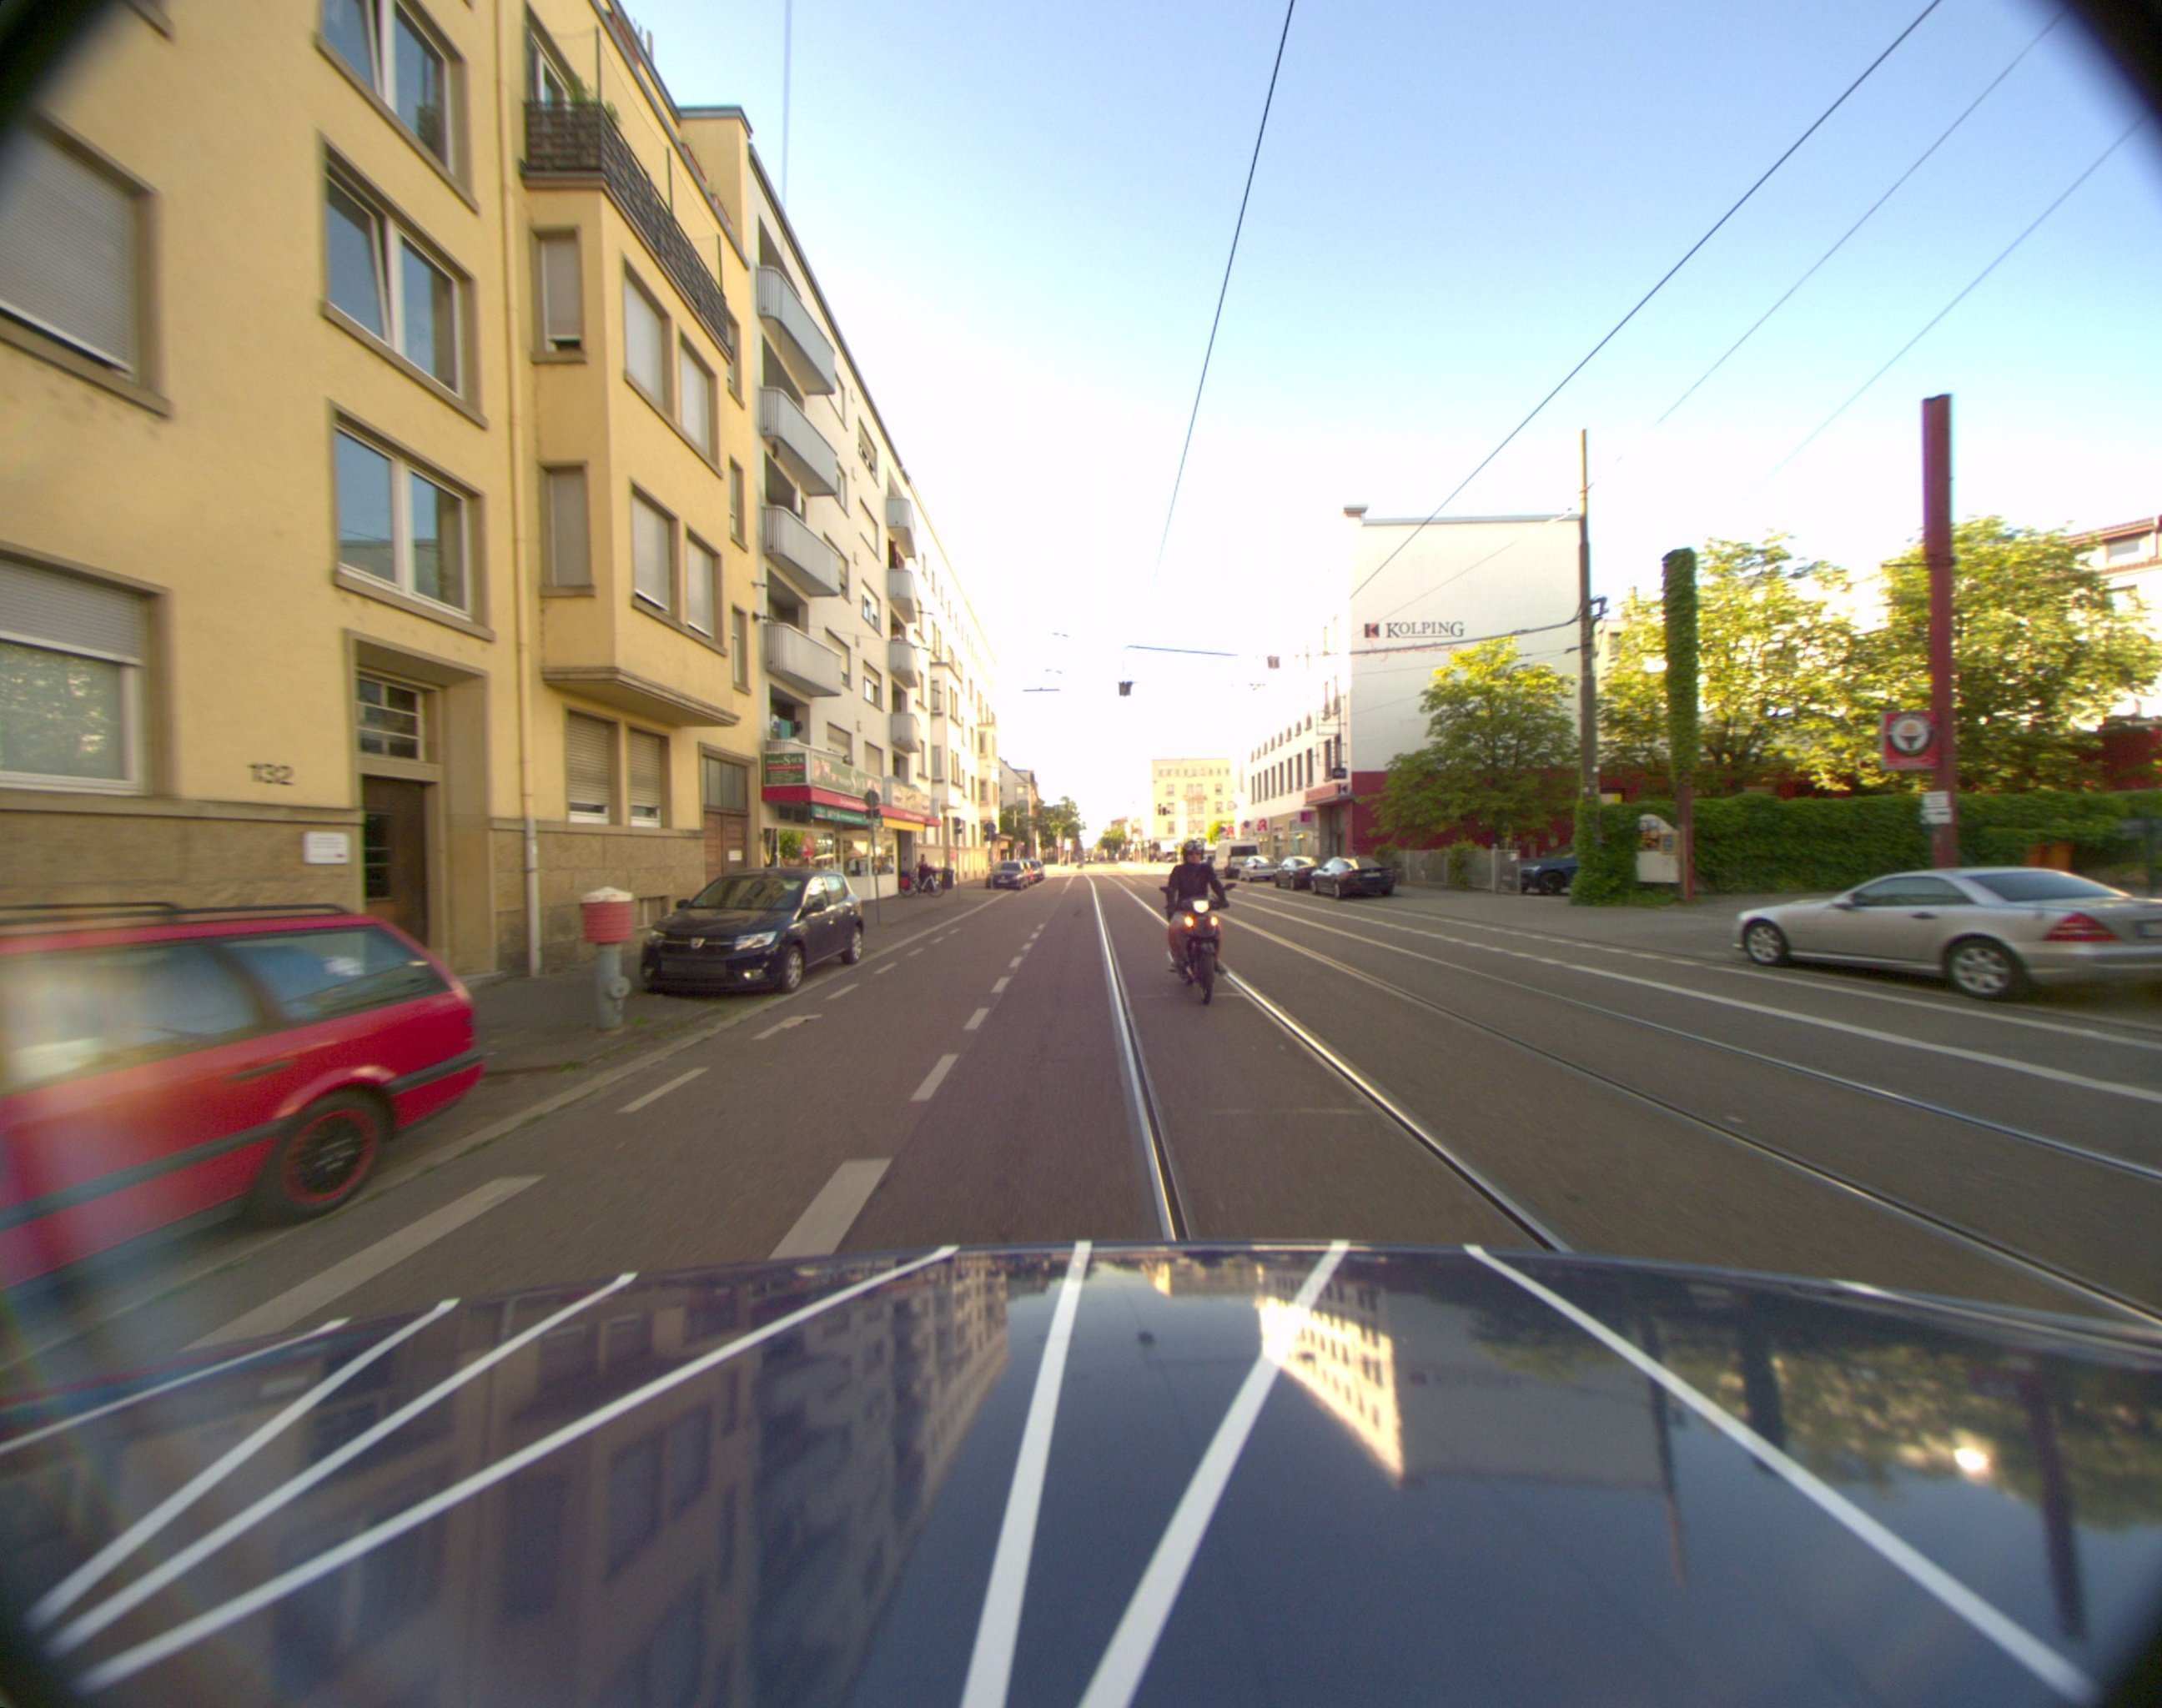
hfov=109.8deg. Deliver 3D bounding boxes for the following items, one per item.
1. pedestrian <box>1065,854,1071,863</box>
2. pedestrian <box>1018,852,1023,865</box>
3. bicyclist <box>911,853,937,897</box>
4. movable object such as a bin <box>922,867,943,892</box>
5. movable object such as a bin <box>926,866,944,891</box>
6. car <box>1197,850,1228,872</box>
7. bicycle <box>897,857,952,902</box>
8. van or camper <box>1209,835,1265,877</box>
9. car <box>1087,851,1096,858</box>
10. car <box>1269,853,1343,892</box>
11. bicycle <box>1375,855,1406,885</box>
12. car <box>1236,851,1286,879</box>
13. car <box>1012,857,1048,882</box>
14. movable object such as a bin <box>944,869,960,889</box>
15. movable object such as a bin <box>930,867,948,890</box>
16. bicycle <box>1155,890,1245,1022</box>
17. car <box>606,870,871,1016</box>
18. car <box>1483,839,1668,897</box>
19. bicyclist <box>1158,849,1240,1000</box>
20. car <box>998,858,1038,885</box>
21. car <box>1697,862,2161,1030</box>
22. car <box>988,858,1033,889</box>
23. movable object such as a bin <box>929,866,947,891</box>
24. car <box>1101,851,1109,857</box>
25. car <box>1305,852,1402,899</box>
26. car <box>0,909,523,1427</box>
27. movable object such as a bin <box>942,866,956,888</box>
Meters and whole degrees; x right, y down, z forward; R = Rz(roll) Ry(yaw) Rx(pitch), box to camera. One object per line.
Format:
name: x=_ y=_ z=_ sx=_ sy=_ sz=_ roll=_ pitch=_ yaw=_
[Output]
pedestrian: x=-1.802 y=0.666 z=107.114 sx=0.774 sy=1.197 sz=0.610 roll=-1 pitch=1 yaw=-8
pedestrian: x=-9.167 y=0.727 z=115.694 sx=0.650 sy=1.944 sz=0.583 roll=-2 pitch=1 yaw=-16
bicyclist: x=-6.230 y=0.826 z=30.191 sx=0.844 sy=1.692 sz=0.510 roll=-2 pitch=1 yaw=4
movable object such as a bin: x=-6.490 y=1.112 z=33.179 sx=0.772 sy=1.066 sz=0.618 roll=-2 pitch=1 yaw=0
movable object such as a bin: x=-6.512 y=1.102 z=33.882 sx=0.677 sy=1.066 sz=0.569 roll=-2 pitch=1 yaw=0
car: x=10.234 y=0.518 z=59.203 sx=1.787 sy=1.543 sz=3.992 roll=-3 pitch=0 yaw=2
bicycle: x=-6.191 y=0.998 z=30.091 sx=1.935 sy=1.700 sz=0.775 roll=-2 pitch=1 yaw=4
van or camper: x=10.000 y=0.124 z=49.247 sx=2.177 sy=2.453 sz=6.231 roll=-3 pitch=0 yaw=0
car: x=2.544 y=0.137 z=180.412 sx=1.970 sy=1.577 sz=4.000 roll=-2 pitch=0 yaw=1
car: x=9.739 y=0.734 z=33.263 sx=1.788 sy=1.472 sz=4.699 roll=-3 pitch=0 yaw=0
bicycle: x=12.683 y=0.644 z=31.206 sx=0.440 sy=1.168 sz=2.050 roll=-2 pitch=1 yaw=2
car: x=9.962 y=0.587 z=42.378 sx=1.787 sy=1.390 sz=4.445 roll=-3 pitch=0 yaw=2
car: x=-3.295 y=0.963 z=49.769 sx=1.861 sy=1.498 sz=4.096 roll=1 pitch=1 yaw=2
movable object such as a bin: x=-6.222 y=1.186 z=36.633 sx=0.657 sy=0.911 sz=0.569 roll=-2 pitch=1 yaw=0
movable object such as a bin: x=-6.546 y=1.128 z=35.107 sx=0.677 sy=1.066 sz=0.569 roll=-2 pitch=1 yaw=0
bicycle: x=1.253 y=1.047 z=8.323 sx=0.767 sy=1.191 sz=1.752 roll=-1 pitch=1 yaw=3
car: x=-4.299 y=1.019 z=10.315 sx=1.722 sy=1.482 sz=4.001 roll=0 pitch=0 yaw=1
car: x=15.236 y=0.422 z=23.610 sx=4.372 sy=1.588 sz=2.000 roll=-2 pitch=1 yaw=2
bicyclist: x=1.254 y=0.725 z=8.256 sx=0.774 sy=1.531 sz=0.939 roll=-1 pitch=1 yaw=4
car: x=-3.631 y=0.985 z=44.566 sx=1.861 sy=1.464 sz=3.989 roll=1 pitch=1 yaw=2
car: x=9.719 y=0.835 z=8.764 sx=1.787 sy=1.306 sz=4.221 roll=-3 pitch=0 yaw=1
car: x=-3.578 y=0.968 z=39.248 sx=1.714 sy=1.399 sz=4.358 roll=1 pitch=0 yaw=2
movable object such as a bin: x=-6.499 y=1.102 z=34.472 sx=0.677 sy=1.066 sz=0.569 roll=-2 pitch=1 yaw=0
car: x=6.163 y=-0.020 z=198.551 sx=1.970 sy=1.577 sz=4.000 roll=-2 pitch=0 yaw=3
car: x=9.734 y=0.722 z=27.557 sx=1.787 sy=1.437 sz=4.841 roll=-3 pitch=0 yaw=1
car: x=-4.319 y=1.083 z=2.139 sx=1.863 sy=1.447 sz=4.710 roll=-1 pitch=0 yaw=2
movable object such as a bin: x=-6.468 y=1.125 z=37.327 sx=0.560 sy=1.051 sz=0.554 roll=-2 pitch=1 yaw=0
